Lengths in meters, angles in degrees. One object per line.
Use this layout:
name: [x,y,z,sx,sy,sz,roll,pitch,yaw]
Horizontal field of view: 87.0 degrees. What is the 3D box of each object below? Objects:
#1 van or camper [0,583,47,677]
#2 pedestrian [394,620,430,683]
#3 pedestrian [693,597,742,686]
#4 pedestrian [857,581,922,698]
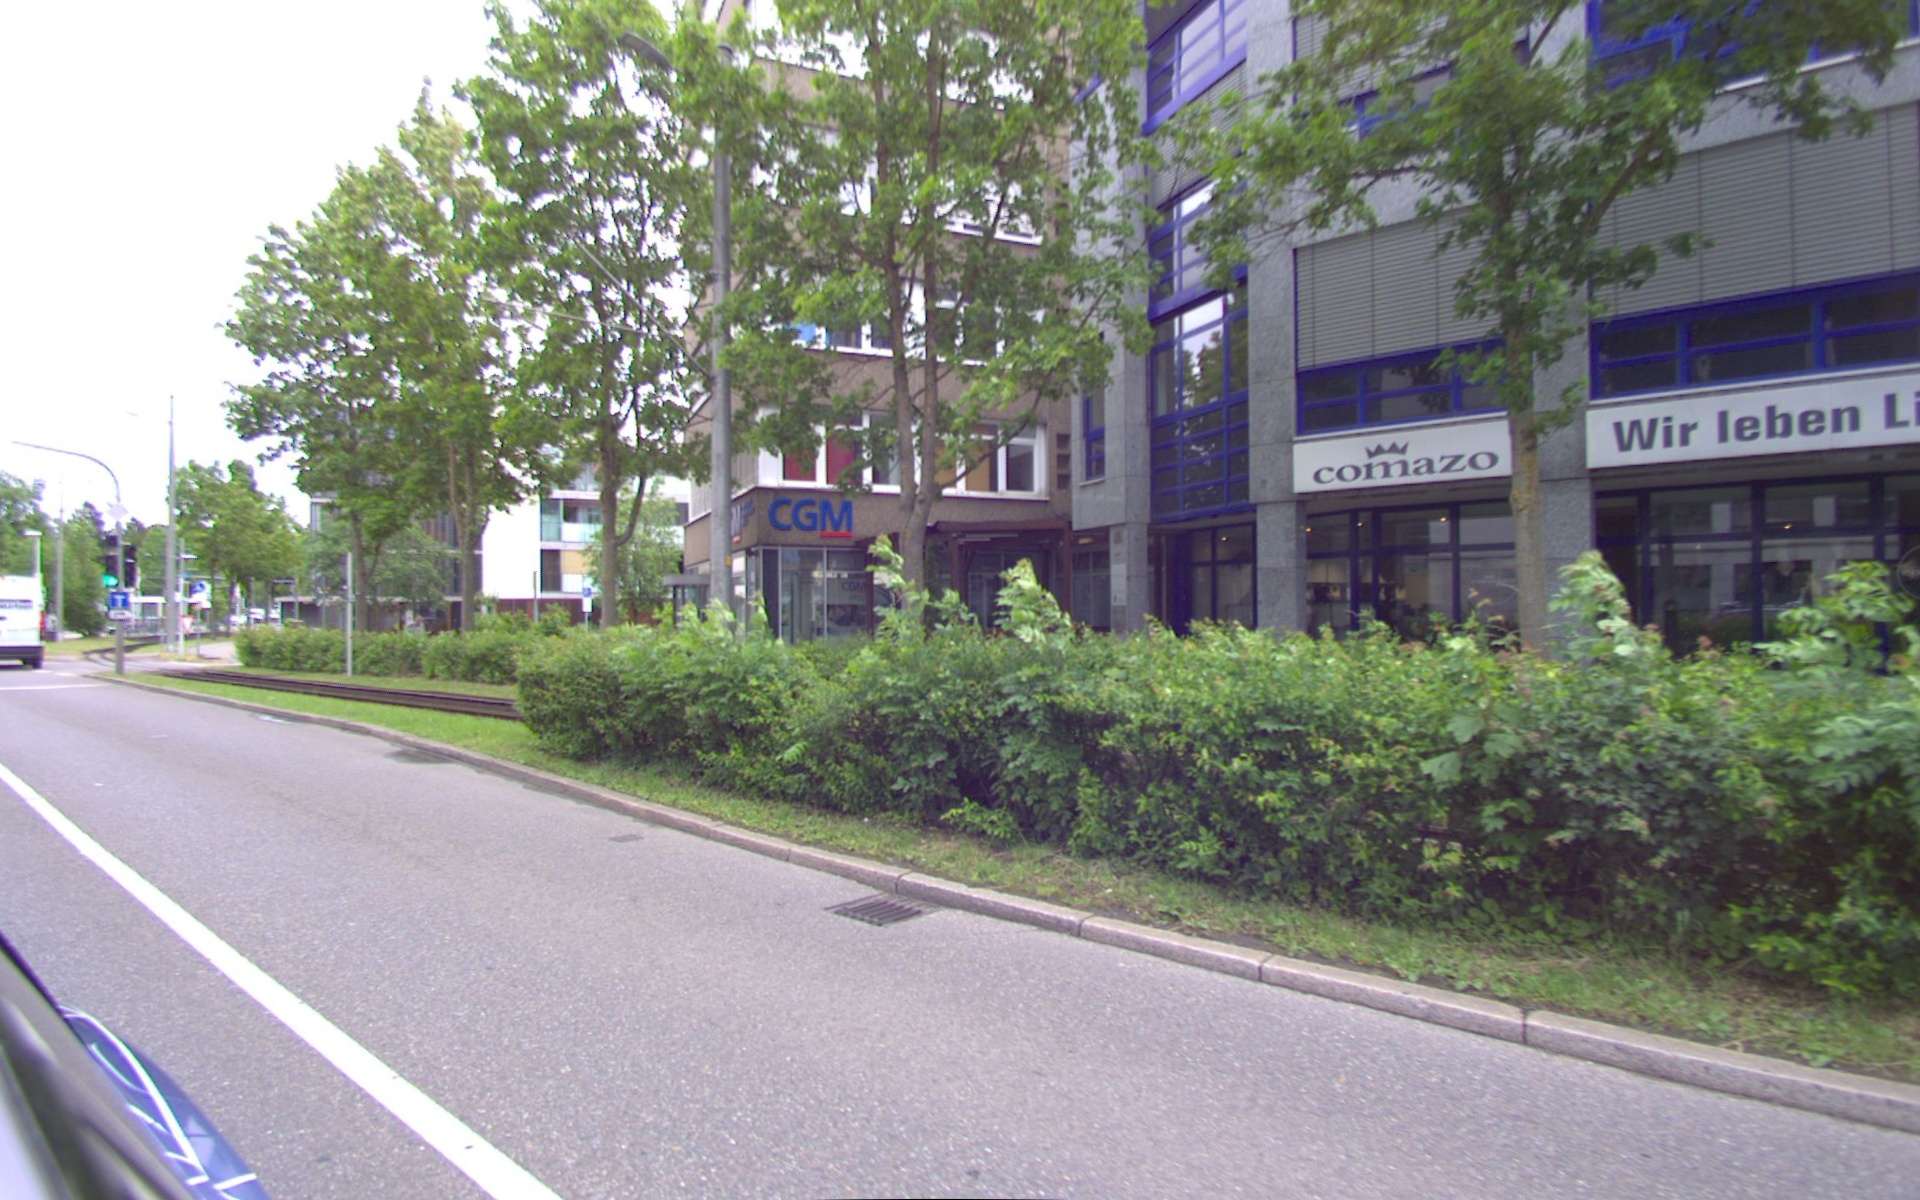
van or camper: [-30.350,0.894,31.624,6.150,2.754,2.085,0,0,42]
pedestrian: [-16.193,1.511,29.909,0.730,1.819,0.672,-1,0,36]
pedestrian: [-5.359,0.894,22.357,0.731,1.908,0.767,-1,0,39]
pedestrian: [-1.193,0.647,17.233,0.731,1.938,0.805,-1,0,40]
